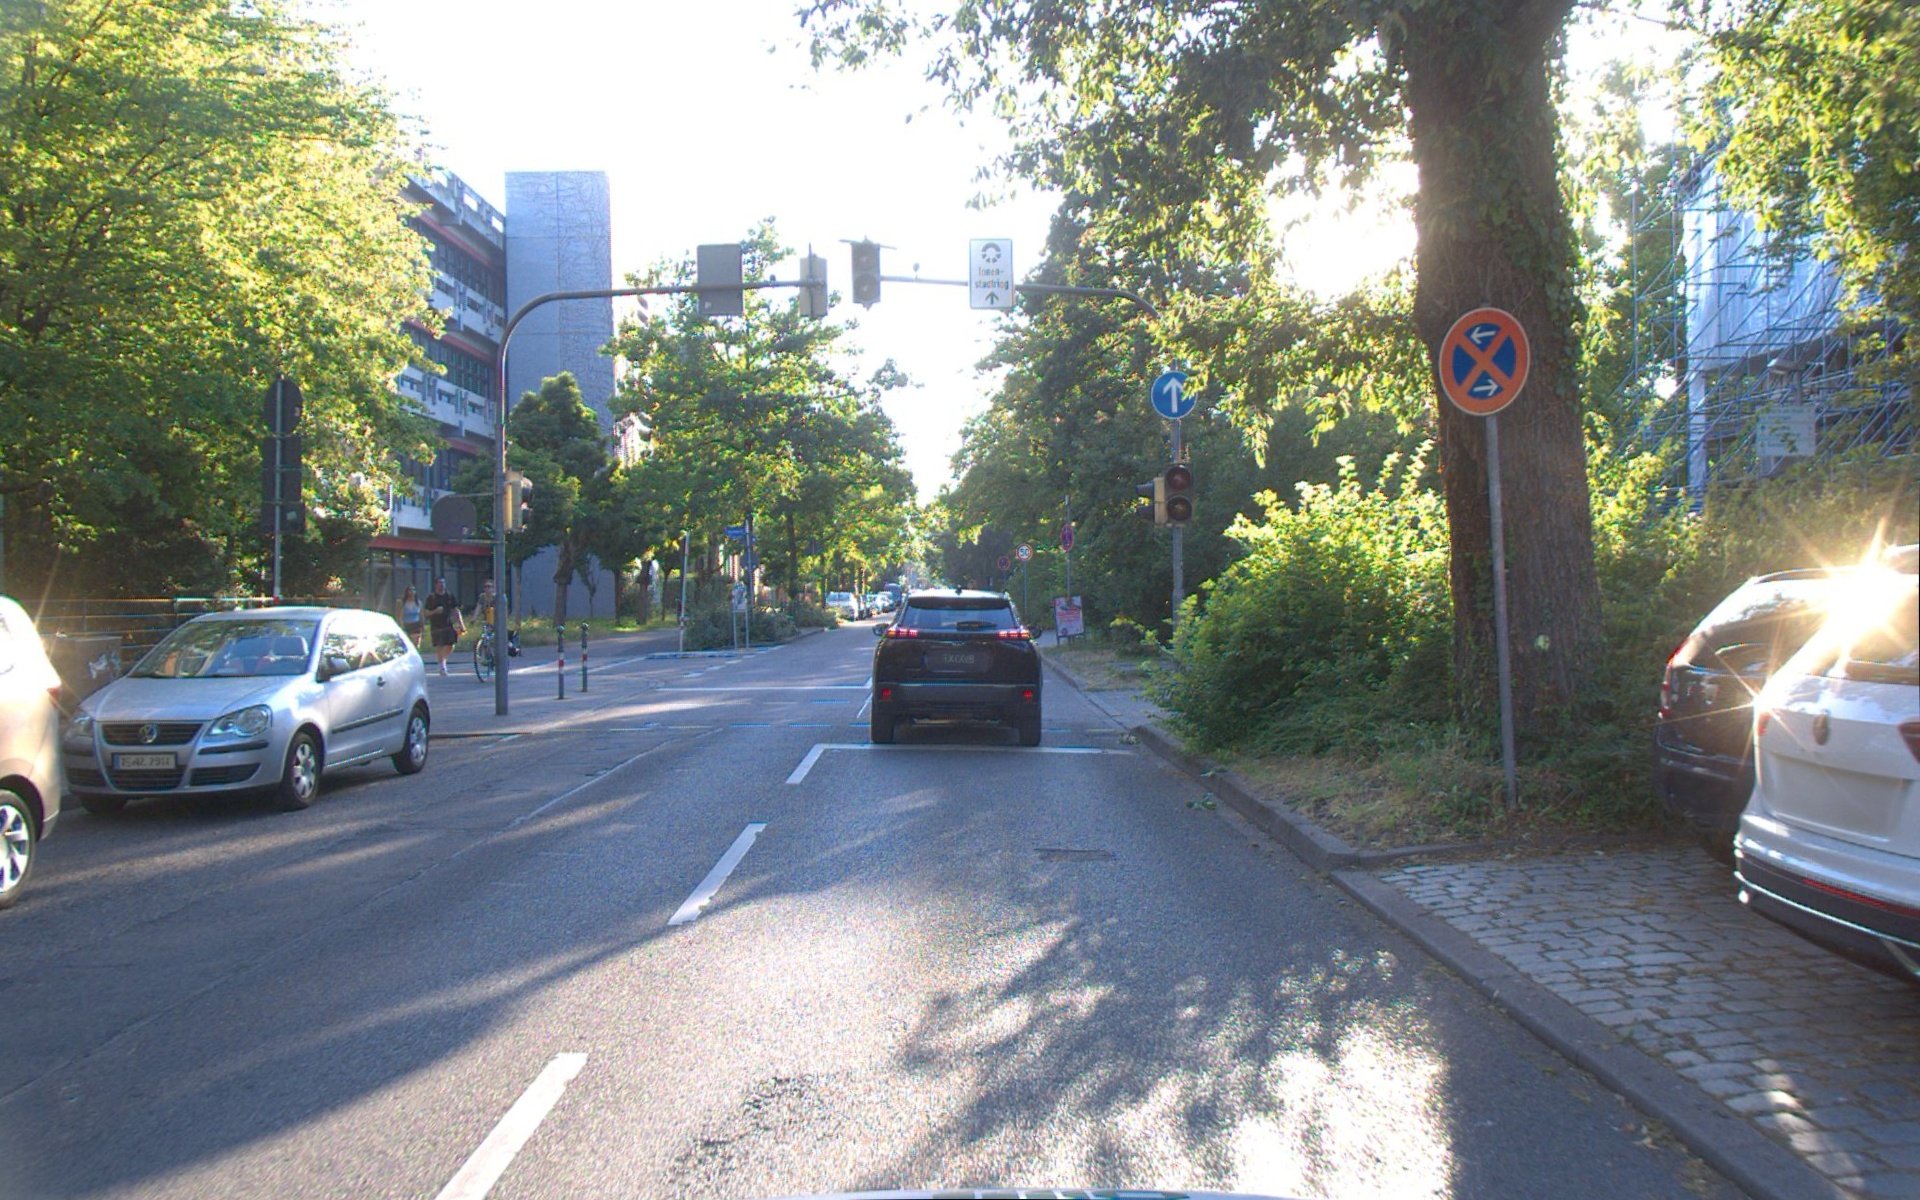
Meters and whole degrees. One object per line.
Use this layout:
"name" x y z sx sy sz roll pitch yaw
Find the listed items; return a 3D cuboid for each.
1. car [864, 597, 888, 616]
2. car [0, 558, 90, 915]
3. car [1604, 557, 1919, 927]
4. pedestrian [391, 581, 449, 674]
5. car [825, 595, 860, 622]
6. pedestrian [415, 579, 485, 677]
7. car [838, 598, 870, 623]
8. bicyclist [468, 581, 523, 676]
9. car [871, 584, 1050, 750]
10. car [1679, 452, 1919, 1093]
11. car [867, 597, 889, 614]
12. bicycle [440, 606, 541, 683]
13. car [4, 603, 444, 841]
"car" -6.601 0.491 130.169 1.775 1.378 3.975 -1 0 -4
"car" -5.533 0.717 6.713 1.645 1.738 4.340 -2 1 0
"car" 4.965 0.570 7.878 3.132 1.519 1.682 0 0 -9
"pedestrian" -10.050 0.510 30.812 0.691 1.692 0.715 -1 0 23
"car" -6.421 0.438 90.085 1.775 1.378 3.995 -1 0 -6
"pedestrian" -9.765 0.530 31.688 0.934 1.855 0.822 -1 0 22
"car" -6.181 0.581 96.333 1.775 1.378 3.997 -1 0 -4
"bicyclist" -8.140 0.491 29.008 0.661 1.631 0.707 0 0 16
"car" -0.032 0.636 17.720 1.732 1.596 3.379 0 0 -1
"car" 4.691 0.451 5.179 4.083 1.740 1.868 0 0 3
"car" -6.973 0.455 140.222 1.775 1.378 3.997 -1 0 -4
"bicycle" -8.169 0.760 28.895 0.672 1.271 2.194 0 0 15
"car" -5.581 0.830 13.122 1.645 1.482 3.882 -2 1 1
